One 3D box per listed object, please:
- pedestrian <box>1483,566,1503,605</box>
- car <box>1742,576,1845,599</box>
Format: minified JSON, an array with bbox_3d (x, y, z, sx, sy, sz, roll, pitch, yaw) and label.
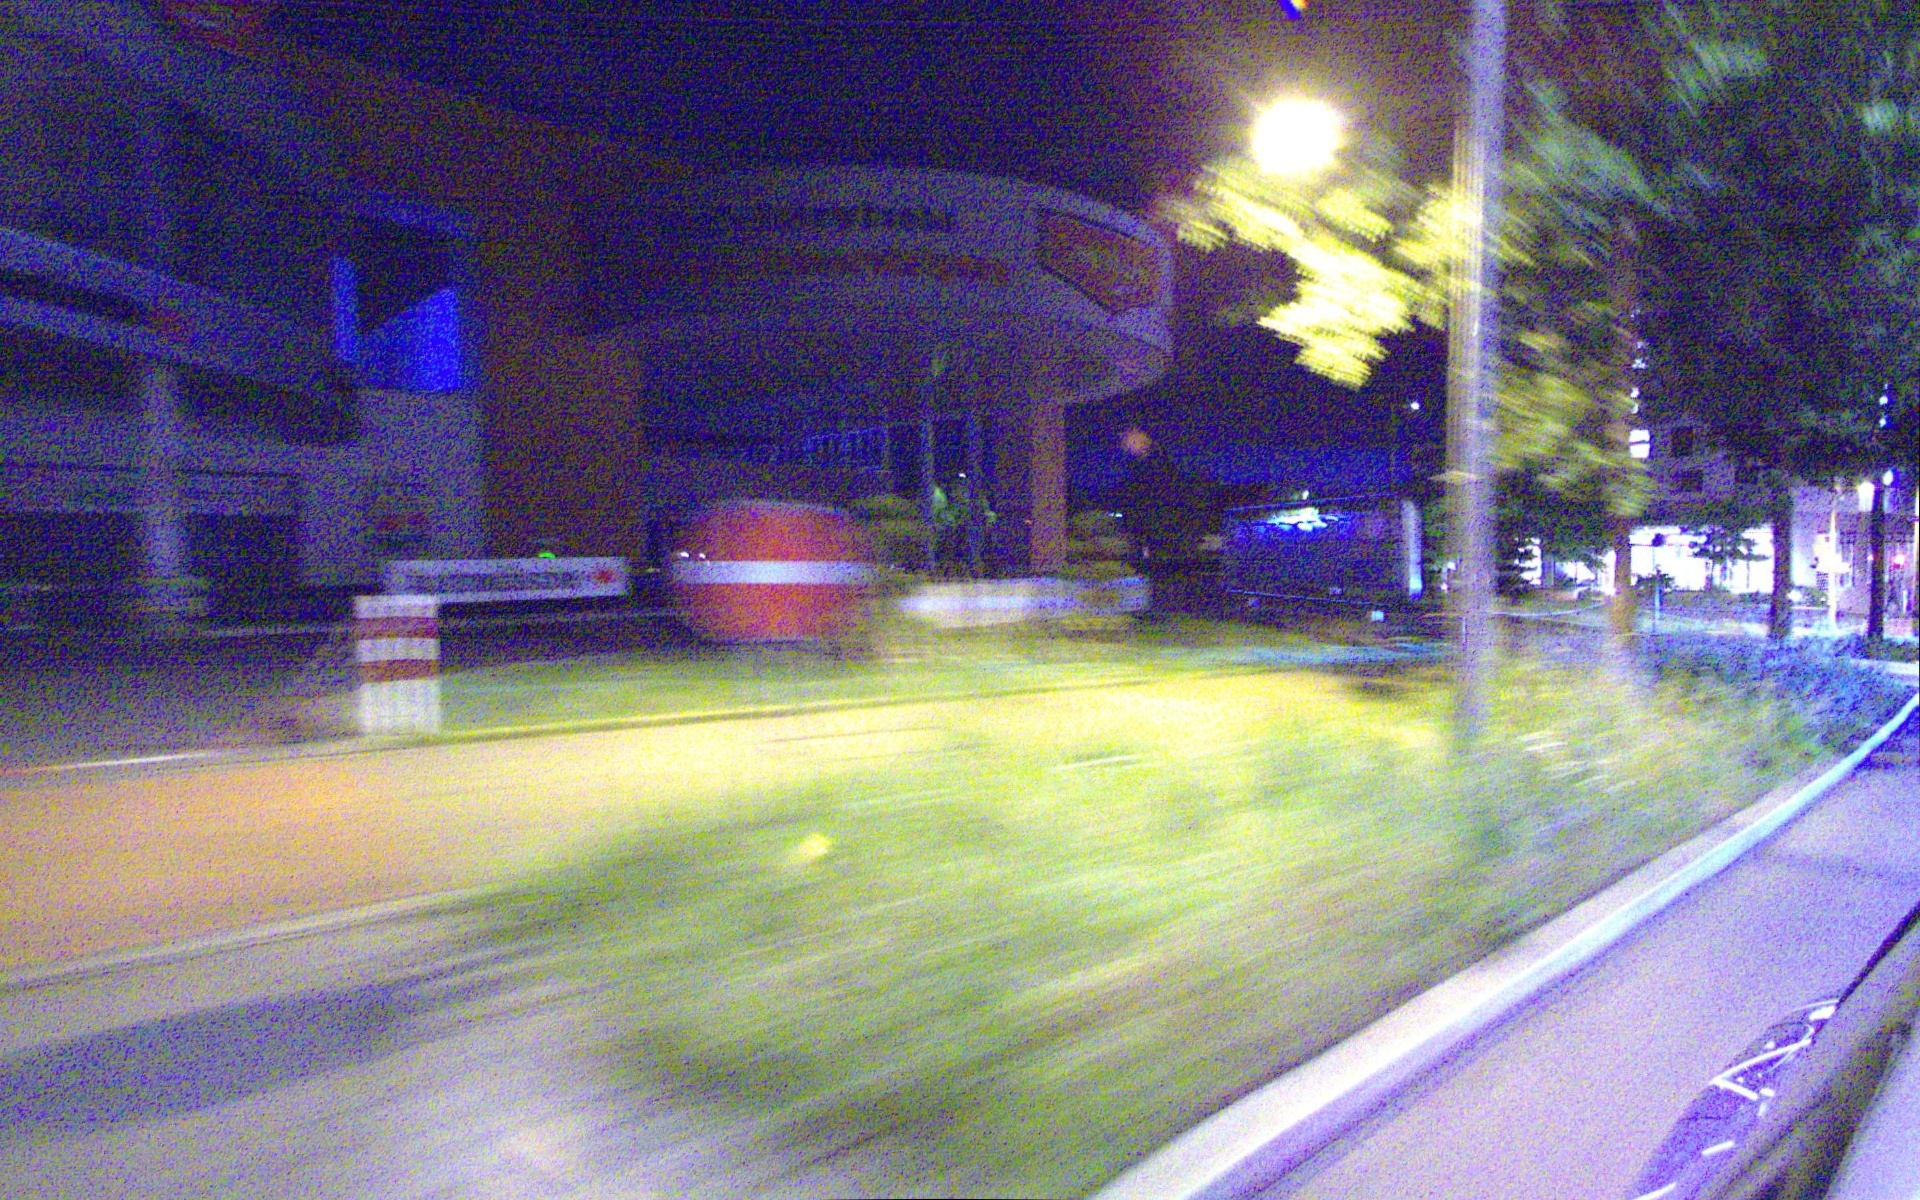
[{"bbox_3d":[25.992,-0.720,49.355,0.719,1.900,0.663,0,1,-43],"label":"pedestrian"},{"bbox_3d":[43.901,-0.670,53.378,3.935,1.047,1.480,3,1,9],"label":"car"}]
